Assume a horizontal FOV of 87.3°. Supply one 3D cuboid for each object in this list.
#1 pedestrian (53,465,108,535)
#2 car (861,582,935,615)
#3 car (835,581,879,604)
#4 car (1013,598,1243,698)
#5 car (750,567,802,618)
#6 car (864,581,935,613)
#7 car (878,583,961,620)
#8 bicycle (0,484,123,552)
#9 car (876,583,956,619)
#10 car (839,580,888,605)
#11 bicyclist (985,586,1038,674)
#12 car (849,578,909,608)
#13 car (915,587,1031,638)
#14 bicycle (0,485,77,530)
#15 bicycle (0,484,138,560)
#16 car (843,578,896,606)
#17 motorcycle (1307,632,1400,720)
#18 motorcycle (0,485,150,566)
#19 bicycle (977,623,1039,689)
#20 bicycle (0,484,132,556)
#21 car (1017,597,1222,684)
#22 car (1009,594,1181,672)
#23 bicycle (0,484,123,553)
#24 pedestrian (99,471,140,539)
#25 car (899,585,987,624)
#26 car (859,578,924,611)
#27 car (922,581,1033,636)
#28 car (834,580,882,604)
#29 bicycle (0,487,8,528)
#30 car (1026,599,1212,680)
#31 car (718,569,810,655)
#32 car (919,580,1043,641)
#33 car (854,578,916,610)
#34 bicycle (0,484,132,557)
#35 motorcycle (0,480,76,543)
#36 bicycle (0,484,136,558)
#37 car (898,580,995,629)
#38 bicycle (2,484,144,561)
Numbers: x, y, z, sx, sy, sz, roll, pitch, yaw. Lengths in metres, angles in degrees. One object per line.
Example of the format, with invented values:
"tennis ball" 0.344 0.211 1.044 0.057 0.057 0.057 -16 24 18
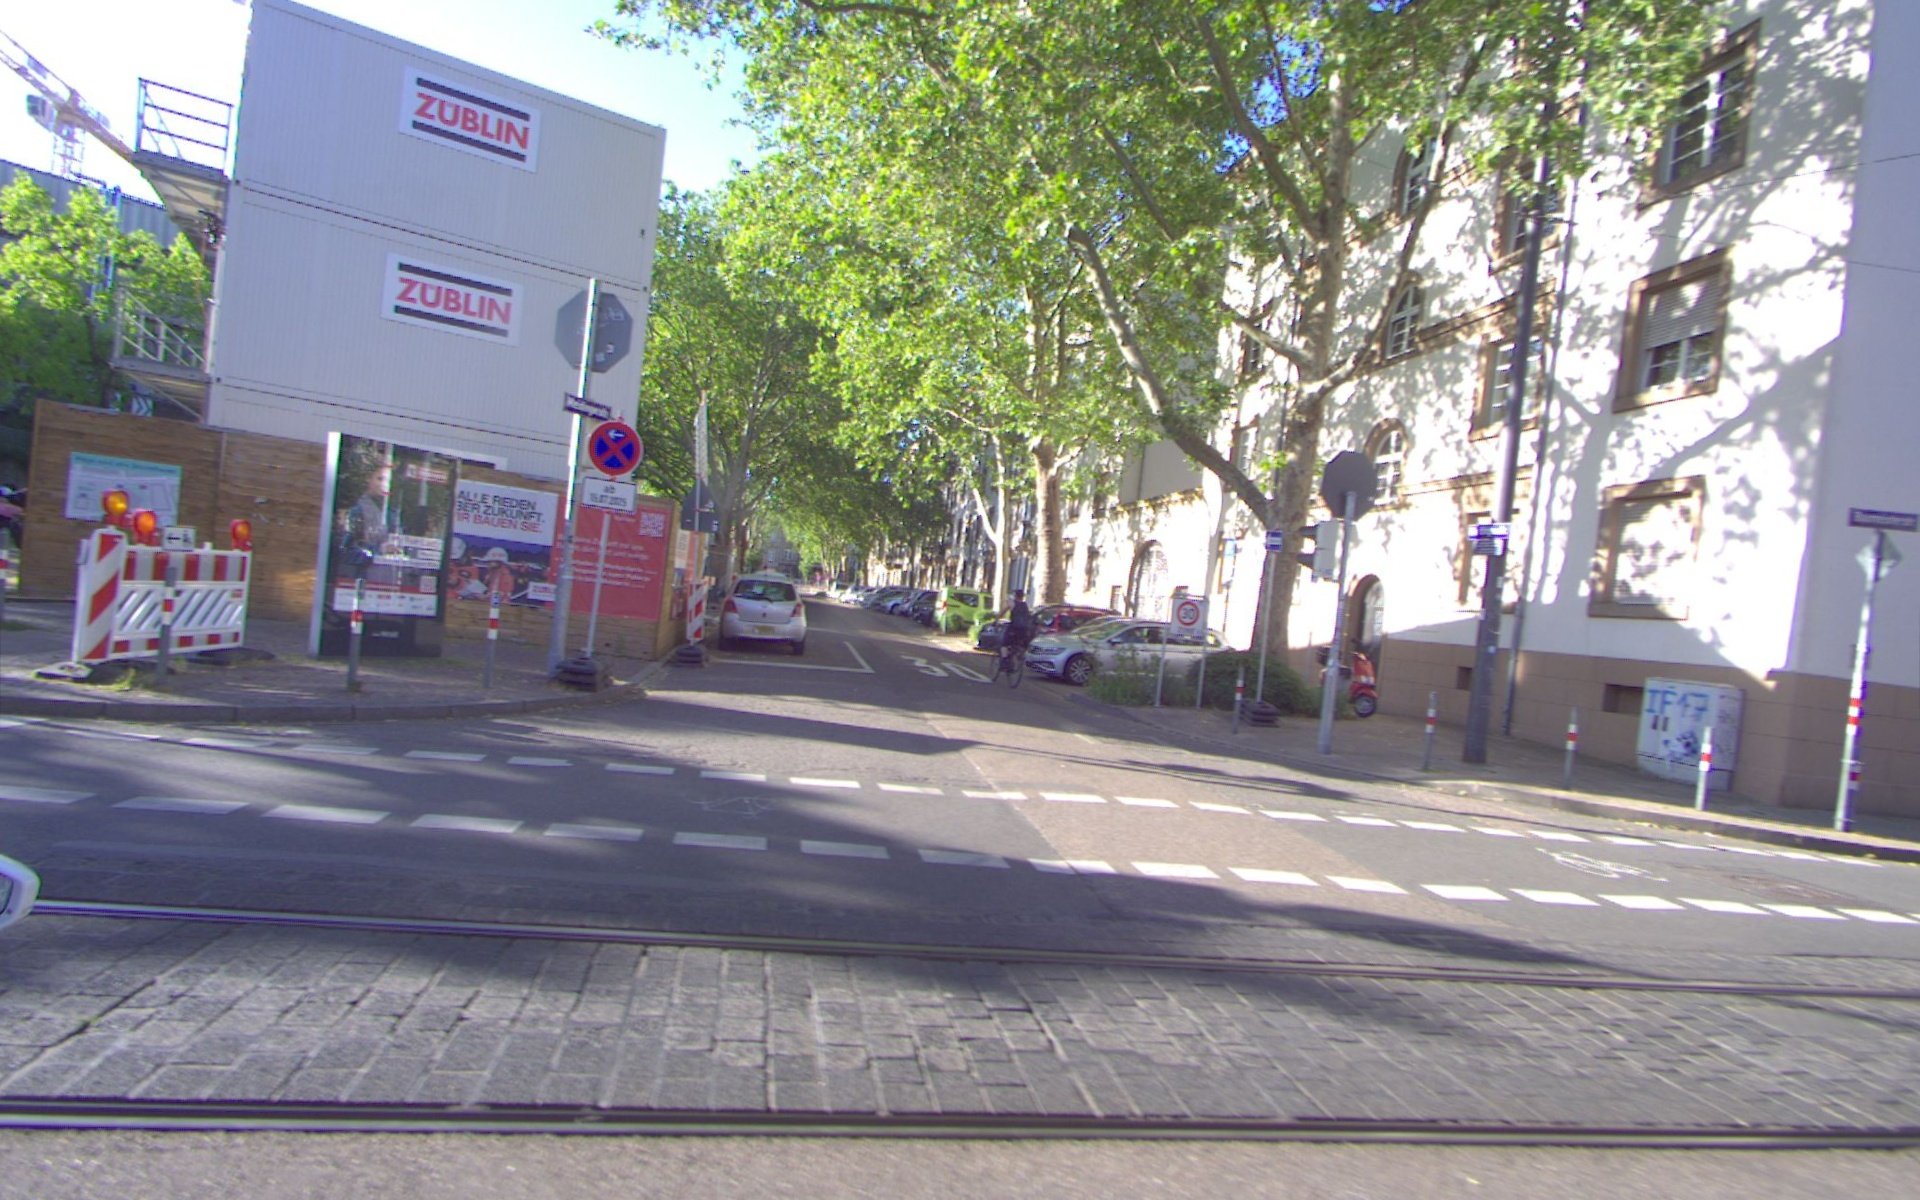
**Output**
"pedestrian" -27.887 -3.158 31.909 0.788 2.040 0.938 6 2 0
"car" -4.000 -0.080 64.538 4.402 1.591 1.724 6 1 -12
"car" -11.177 -0.814 108.704 4.402 1.922 1.724 6 1 -12
"car" 3.552 1.004 21.529 4.402 1.591 1.724 6 1 -12
"car" -6.800 -0.315 36.932 1.643 1.582 3.990 6 0 -12
"car" -4.031 -0.180 66.883 4.402 1.591 1.724 6 1 -12
"car" -2.319 0.086 57.500 4.402 1.591 1.724 6 1 -12
"bicycle" -20.445 -1.844 22.875 0.535 1.274 2.039 8 2 42
"car" -2.630 0.065 59.955 4.402 1.591 1.724 6 1 -12
"car" -9.306 -0.753 96.688 4.402 1.922 1.724 6 1 -12
"bicyclist" 0.958 0.539 18.719 0.667 1.532 0.667 7 1 -10
"car" -6.403 -0.564 79.586 4.402 1.922 1.724 6 1 -12
"car" 0.513 0.507 41.242 4.402 1.591 1.724 6 1 -12
"bicycle" -29.889 -3.009 31.835 3.032 1.162 0.821 7 2 -2
"bicycle" -18.145 -1.574 20.521 0.465 1.274 2.039 8 2 42
"car" -8.031 -0.730 89.379 4.402 1.922 1.724 6 1 -12
"motorcycle" 6.988 1.328 17.956 0.507 1.350 1.758 6 1 -12
"motorcycle" -17.081 -1.419 19.377 0.535 1.274 2.200 8 2 42
"bicycle" 0.877 1.026 18.866 0.680 1.029 1.904 8 0 -8
"bicycle" -19.195 -1.697 21.633 0.535 1.274 2.039 8 2 42
"car" 3.776 0.947 24.062 4.402 1.519 1.724 6 1 -12
"car" 3.795 0.923 28.589 4.402 1.692 1.724 6 1 -12
"bicycle" -20.058 -1.800 22.432 0.535 1.274 2.039 8 2 42
"pedestrian" -26.923 -3.025 32.235 0.795 2.040 1.021 5 2 -34
"car" -0.916 0.227 54.512 4.402 1.591 1.724 6 1 -12
"car" -5.047 -0.420 74.117 4.402 1.922 1.724 6 1 -12
"car" 0.740 0.343 43.609 4.403 1.860 1.724 6 1 -12
"car" -10.081 -0.798 99.637 4.402 1.922 1.724 6 1 -12
"bicycle" -28.877 -2.816 28.418 3.032 1.162 0.821 7 2 -2
"car" 4.163 1.034 26.542 4.402 1.591 1.724 6 1 -12
"car" -4.111 0.182 20.982 1.621 1.514 3.990 4 1 -12
"car" 0.794 0.393 39.241 4.403 1.860 1.724 6 1 -12
"car" -5.709 -0.488 76.803 4.402 1.922 1.724 6 1 -12
"bicycle" -18.853 -1.658 21.207 0.465 1.274 2.039 8 2 42
"motorcycle" -21.788 -2.085 23.048 0.535 1.274 2.200 8 2 42
"bicycle" -18.483 -1.615 20.864 0.465 1.274 2.039 8 2 42
"car" -0.674 0.219 49.537 4.403 1.860 1.724 6 1 -12
"bicycle" -17.778 -1.531 20.205 0.465 1.274 2.039 8 2 42
